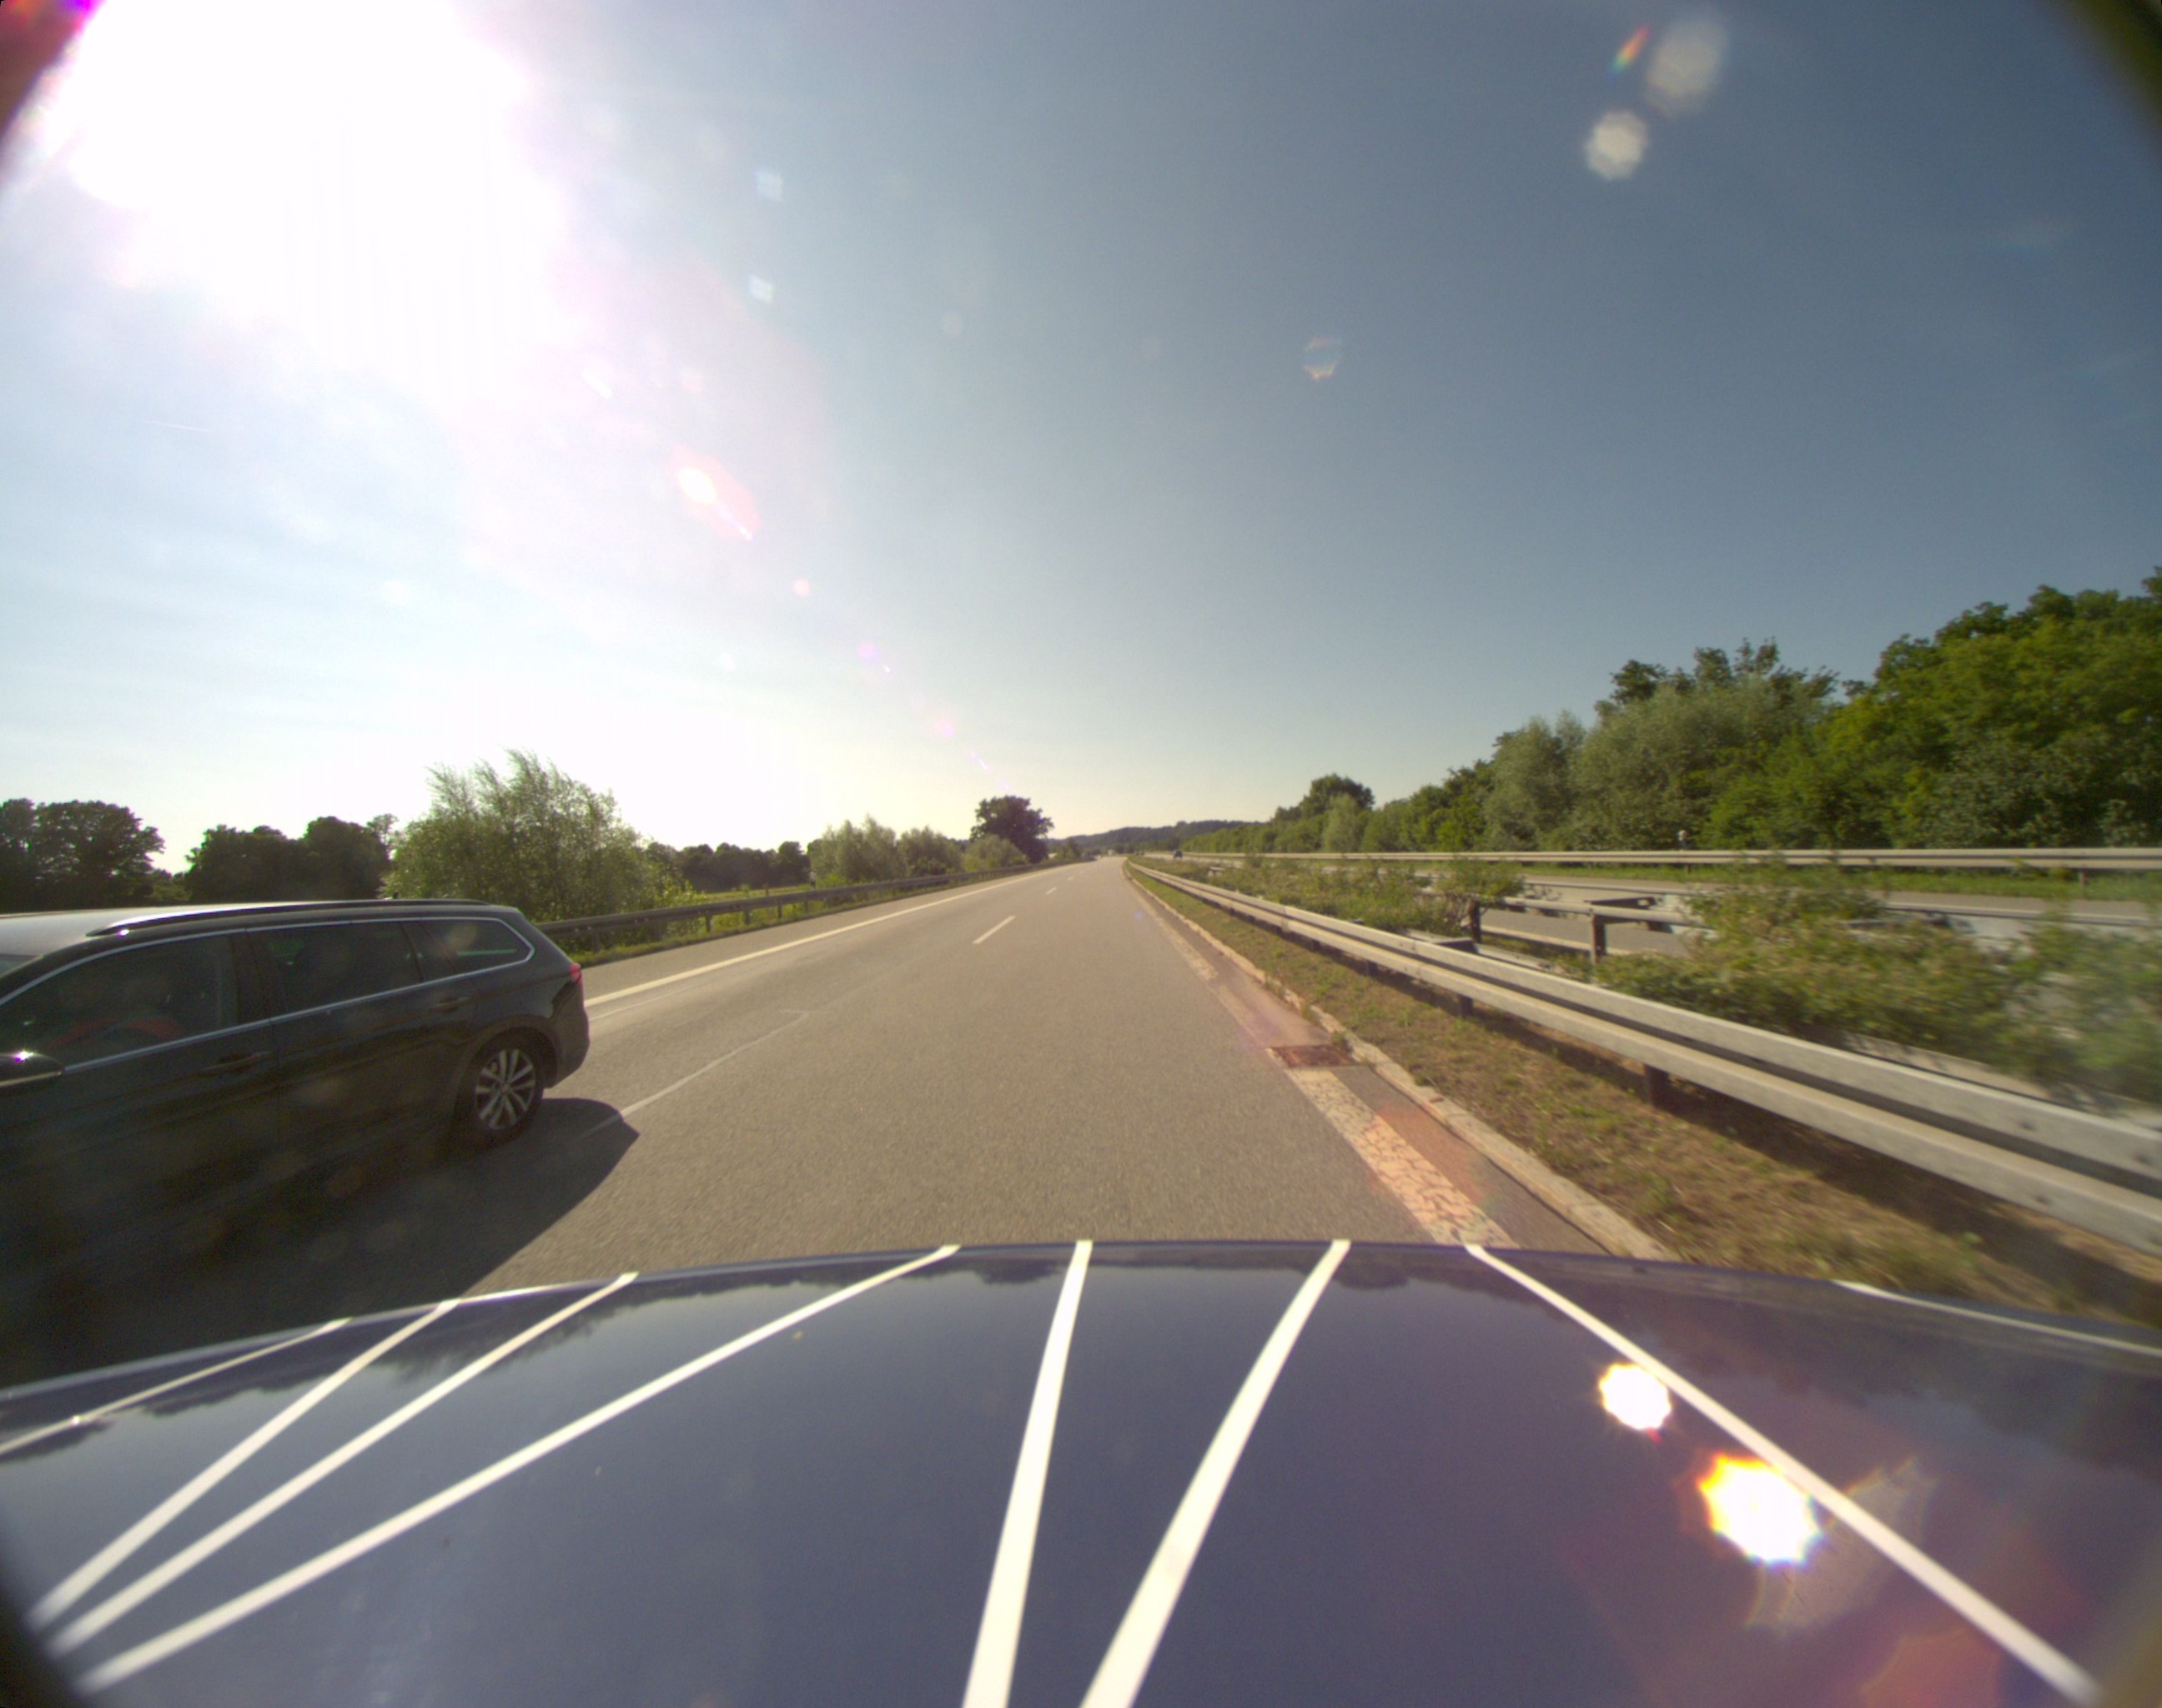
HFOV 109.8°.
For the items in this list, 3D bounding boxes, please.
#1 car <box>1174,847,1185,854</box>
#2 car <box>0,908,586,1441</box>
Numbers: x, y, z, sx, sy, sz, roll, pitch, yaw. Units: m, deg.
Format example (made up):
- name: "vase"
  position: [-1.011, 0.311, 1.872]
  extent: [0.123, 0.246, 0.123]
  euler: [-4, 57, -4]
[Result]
- name: "car"
  position: [19.008, -0.681, 147.035]
  extent: [1.680, 1.433, 4.000]
  euler: [-2, 0, 2]
- name: "car"
  position: [-4.139, 1.102, 2.747]
  extent: [1.723, 1.392, 4.413]
  euler: [-2, 1, 0]
